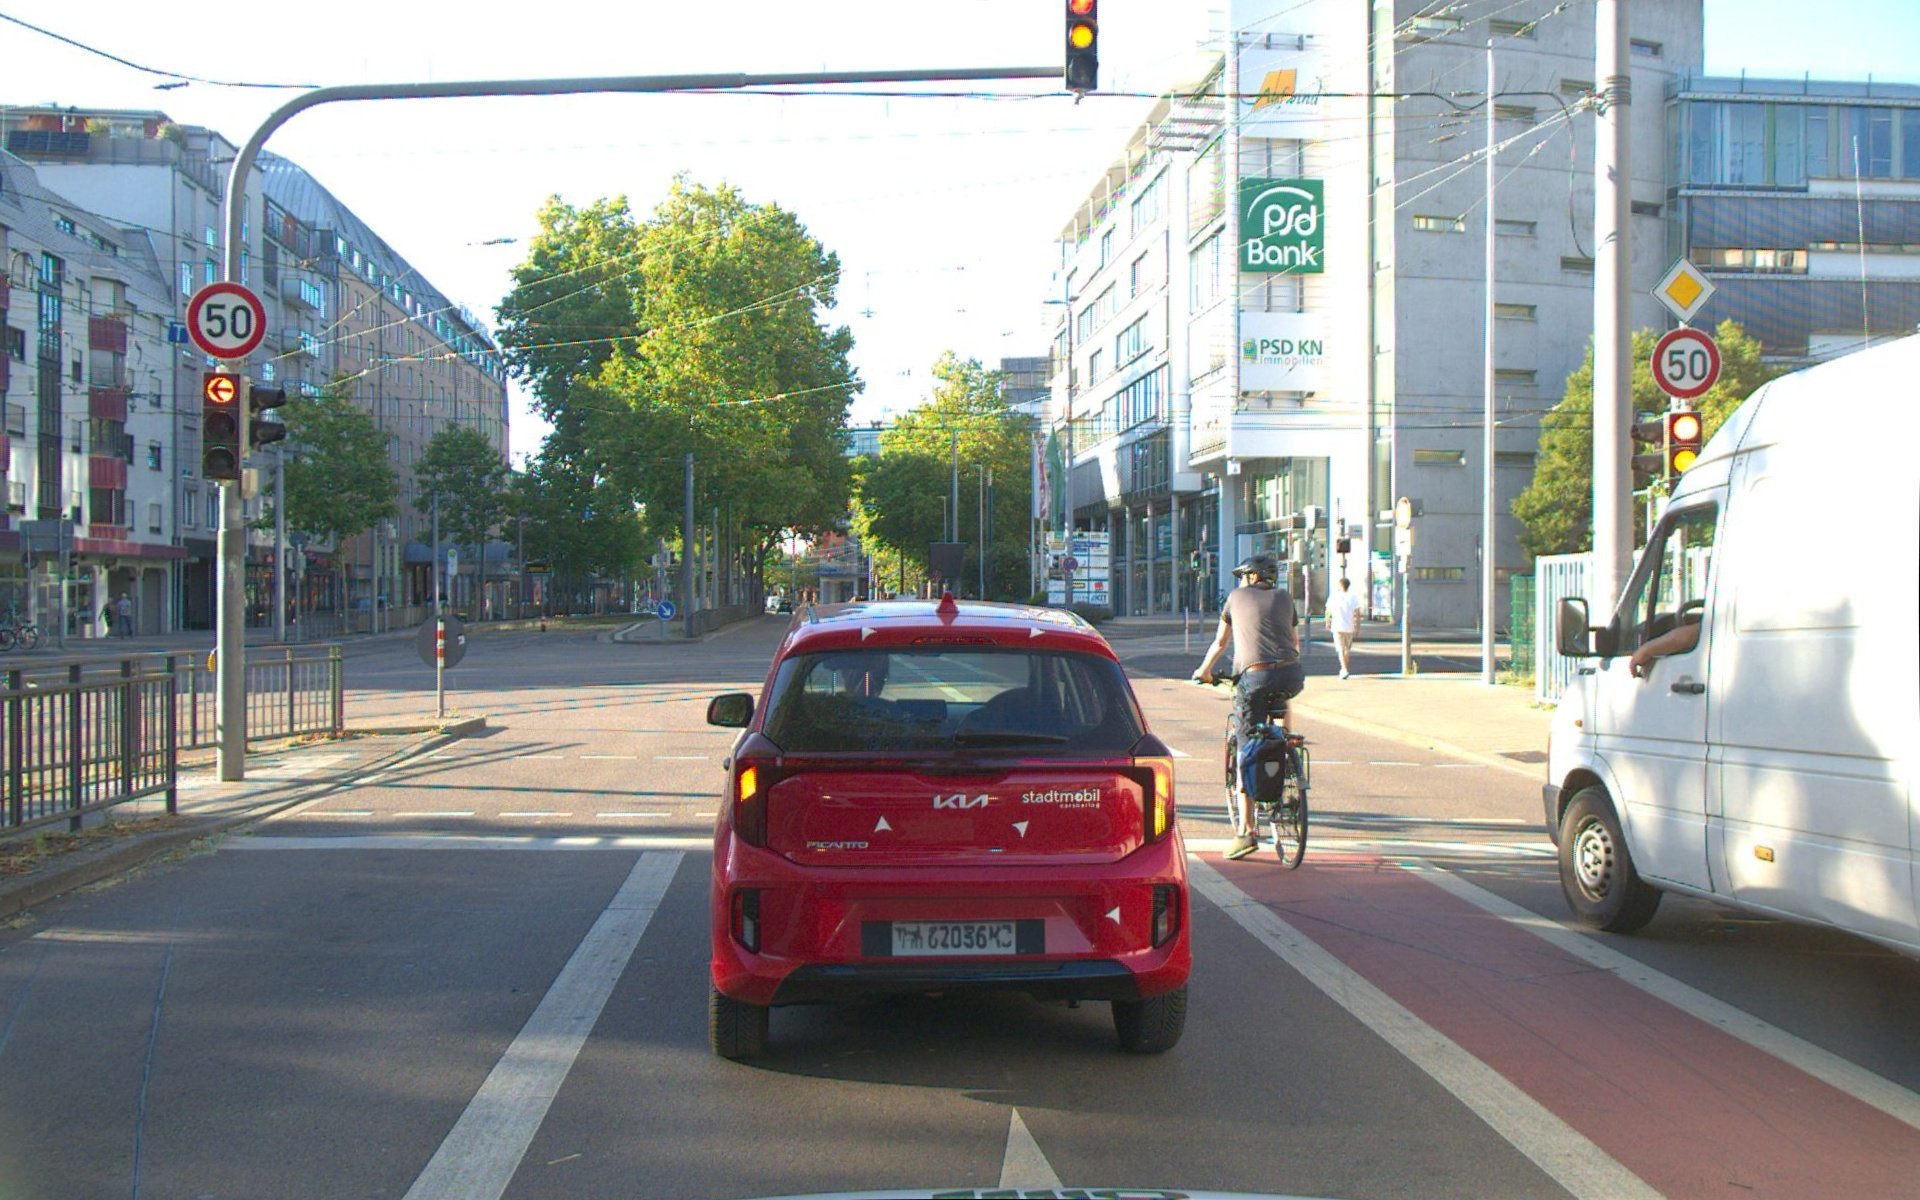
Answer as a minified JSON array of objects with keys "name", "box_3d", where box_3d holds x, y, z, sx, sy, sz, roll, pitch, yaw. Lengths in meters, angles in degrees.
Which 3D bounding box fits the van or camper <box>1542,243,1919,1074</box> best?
[{"name":"van or camper","box_3d":[4.167,0.201,5.421,1.930,2.763,6.300,1,0,-4]}]

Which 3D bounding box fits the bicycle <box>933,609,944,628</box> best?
[{"name":"bicycle","box_3d":[-1.224,1.046,93.690,0.510,0.991,2.200,-4,1,-3]}]

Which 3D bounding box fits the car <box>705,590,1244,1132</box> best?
[{"name":"car","box_3d":[-0.098,0.754,6.547,1.582,1.561,3.408,0,0,-5]}]

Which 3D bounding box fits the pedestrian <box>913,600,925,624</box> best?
[{"name":"pedestrian","box_3d":[-2.757,0.796,110.958,0.629,1.607,0.722,-4,0,-6]}]

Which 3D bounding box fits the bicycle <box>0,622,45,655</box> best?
[{"name":"bicycle","box_3d":[-29.600,1.204,51.547,1.808,1.002,0.552,0,0,-8]}]

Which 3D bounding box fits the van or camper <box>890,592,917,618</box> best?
[{"name":"van or camper","box_3d":[-4.541,0.411,132.219,1.954,2.024,4.740,0,0,-4]}]

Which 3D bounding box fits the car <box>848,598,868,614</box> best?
[{"name":"car","box_3d":[-10.765,0.622,174.083,1.745,1.561,3.504,0,0,-10]}]

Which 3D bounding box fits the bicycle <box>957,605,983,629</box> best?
[{"name":"bicycle","box_3d":[0.472,0.852,81.734,0.686,1.117,1.741,-4,1,-19]}]

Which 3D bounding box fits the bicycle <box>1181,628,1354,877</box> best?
[{"name":"bicycle","box_3d":[1.797,0.842,9.933,0.637,1.303,1.965,0,0,-1]}]

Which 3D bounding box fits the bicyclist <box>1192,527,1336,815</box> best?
[{"name":"bicyclist","box_3d":[1.805,0.402,9.936,0.637,1.631,1.088,0,0,-1]}]

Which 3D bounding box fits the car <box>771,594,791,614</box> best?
[{"name":"car","box_3d":[-19.012,0.441,175.176,1.956,2.049,3.992,0,0,-8]}]

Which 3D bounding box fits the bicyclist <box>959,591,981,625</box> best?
[{"name":"bicyclist","box_3d":[0.481,0.380,81.637,0.711,1.631,1.083,-3,0,-19]}]

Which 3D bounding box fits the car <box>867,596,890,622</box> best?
[{"name":"car","box_3d":[-5.732,0.628,116.225,1.603,1.831,3.327,0,0,-3]}]

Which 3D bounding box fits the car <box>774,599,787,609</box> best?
[{"name":"car","box_3d":[-27.779,0.664,255.402,1.745,1.561,3.403,0,0,-10]}]

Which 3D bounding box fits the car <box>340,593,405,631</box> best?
[{"name":"car","box_3d":[-27.459,0.524,77.461,1.917,1.702,4.255,0,0,-6]}]

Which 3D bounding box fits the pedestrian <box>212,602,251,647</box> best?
[{"name":"pedestrian","box_3d":[-25.338,0.848,57.553,1.023,1.571,0.695,-1,0,8]}]

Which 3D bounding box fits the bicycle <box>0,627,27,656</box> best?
[{"name":"bicycle","box_3d":[-29.450,1.273,50.283,1.806,0.869,0.553,0,0,-4]}]

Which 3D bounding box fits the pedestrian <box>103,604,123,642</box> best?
[{"name":"pedestrian","box_3d":[-34.192,0.921,66.783,0.524,1.520,0.586,0,0,-9]}]

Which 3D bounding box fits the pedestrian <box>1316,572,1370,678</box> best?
[{"name":"pedestrian","box_3d":[6.866,0.433,29.664,0.761,1.855,1.216,0,0,4]}]

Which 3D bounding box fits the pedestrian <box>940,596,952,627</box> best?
[{"name":"pedestrian","box_3d":[-0.804,0.645,93.876,0.633,1.710,0.651,0,0,-3]}]

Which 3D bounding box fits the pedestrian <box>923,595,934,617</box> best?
[{"name":"pedestrian","box_3d":[-2.544,0.501,132.799,0.873,1.783,0.841,0,0,-1]}]

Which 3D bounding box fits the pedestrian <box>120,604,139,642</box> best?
[{"name":"pedestrian","box_3d":[-33.633,0.931,66.972,0.524,1.520,0.586,0,0,-9]}]

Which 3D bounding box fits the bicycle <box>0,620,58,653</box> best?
[{"name":"bicycle","box_3d":[-29.543,1.157,52.163,1.808,1.002,0.552,0,0,-8]}]
